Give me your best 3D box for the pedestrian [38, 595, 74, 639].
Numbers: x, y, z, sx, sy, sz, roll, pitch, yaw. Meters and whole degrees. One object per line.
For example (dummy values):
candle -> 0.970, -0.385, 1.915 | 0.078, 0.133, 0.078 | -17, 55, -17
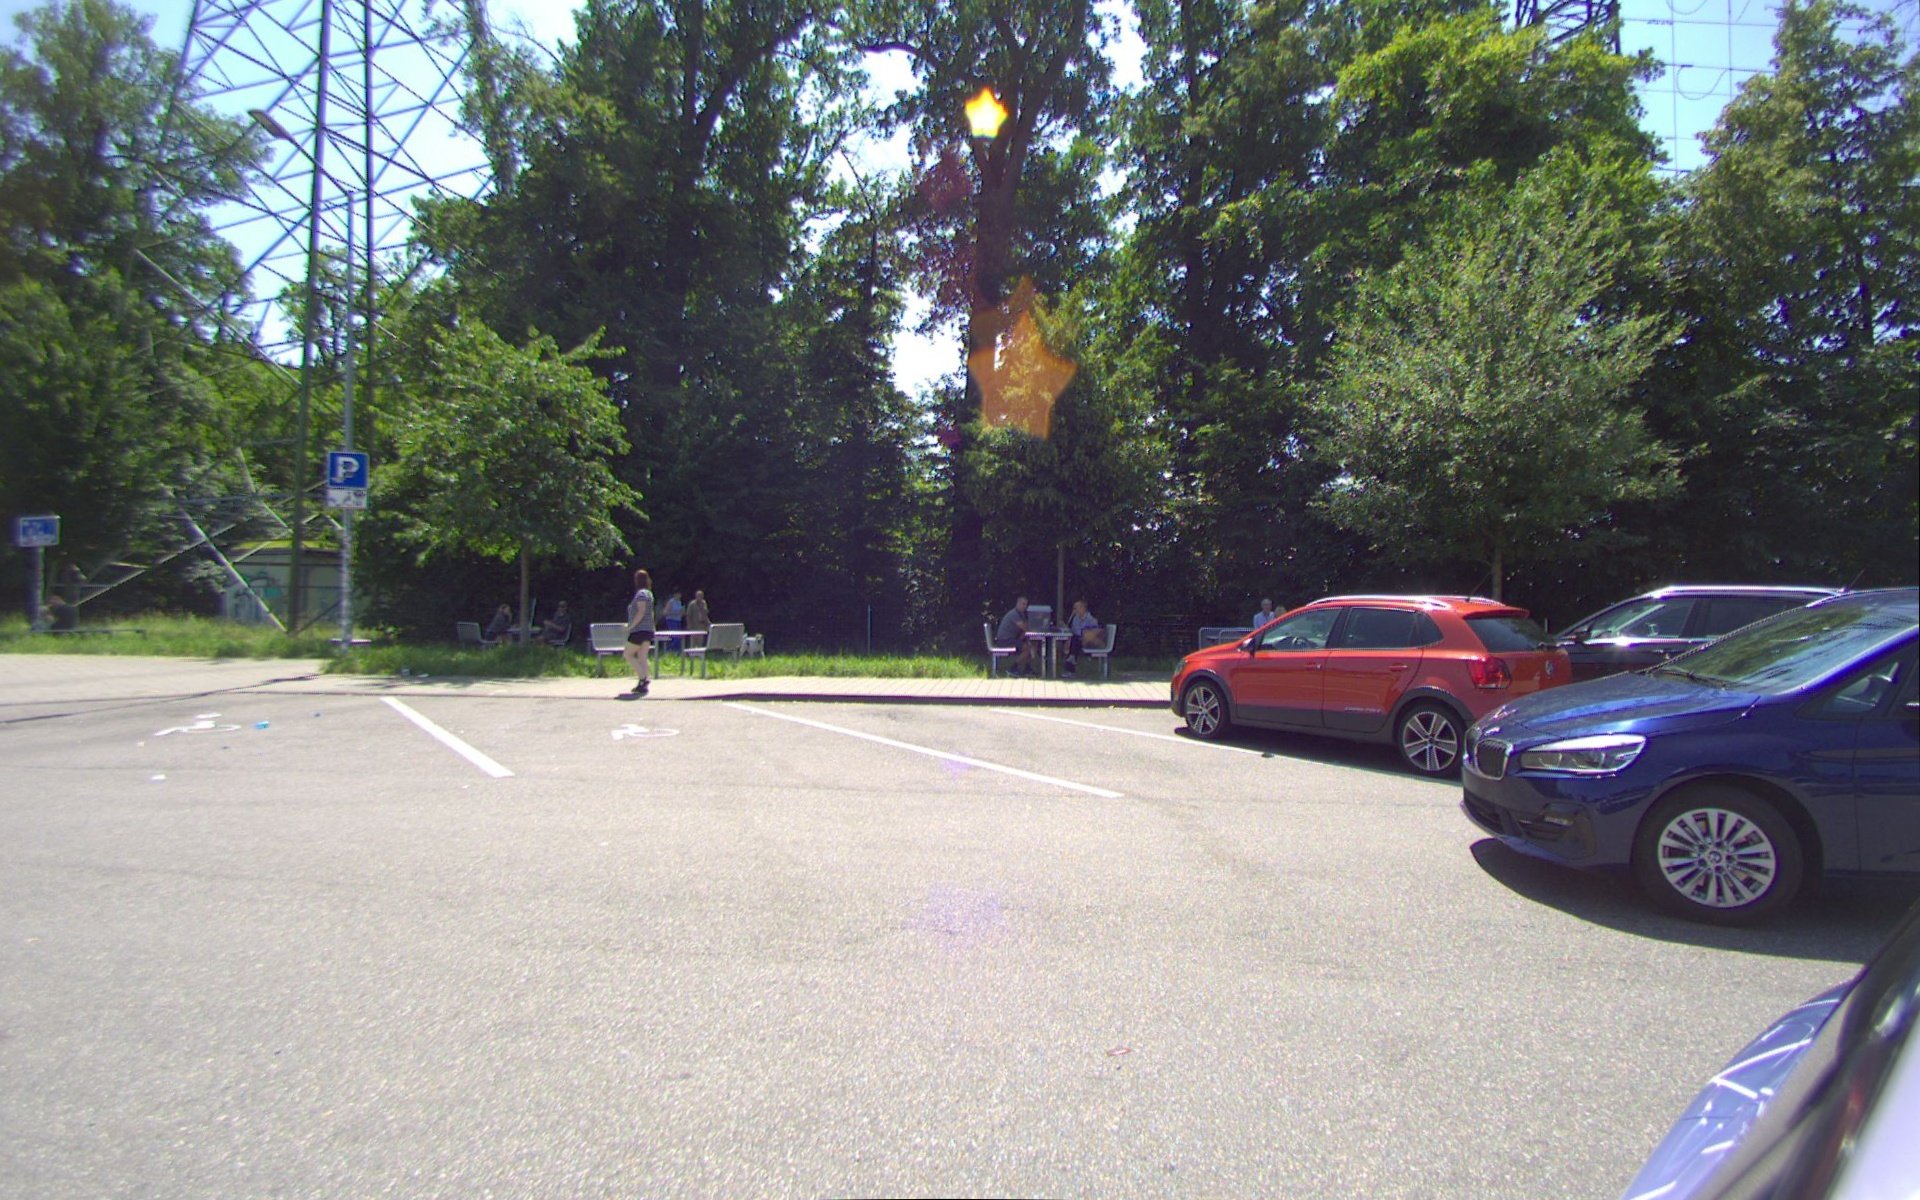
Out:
pedestrian -> -20.946, 0.388, 23.453 | 0.452, 0.987, 0.447 | 0, 0, -2

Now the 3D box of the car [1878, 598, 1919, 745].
car -> 10.903, 0.698, 9.008 | 1.620, 1.420, 3.826 | 0, 0, -37

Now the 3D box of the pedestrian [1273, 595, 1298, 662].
pedestrian -> 5.777, 0.498, 17.947 | 0.350, 1.180, 0.384 | 0, 0, 8

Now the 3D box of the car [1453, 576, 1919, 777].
car -> 7.103, 0.587, 9.862 | 1.620, 1.575, 3.826 | 0, 0, -37

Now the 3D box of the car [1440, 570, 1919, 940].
car -> 4.917, 0.655, 5.003 | 4.279, 1.572, 1.741 | 1, 1, 13

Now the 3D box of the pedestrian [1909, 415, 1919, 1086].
pedestrian -> 3.055, 0.450, 2.441 | 0.804, 1.974, 0.914 | 0, 0, 21

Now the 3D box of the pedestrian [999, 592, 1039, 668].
pedestrian -> 0.996, 0.490, 17.109 | 0.586, 1.261, 0.445 | 0, 0, 16

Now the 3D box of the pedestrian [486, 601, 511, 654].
pedestrian -> -10.428, 0.606, 22.854 | 0.452, 1.182, 0.447 | 0, 0, -34

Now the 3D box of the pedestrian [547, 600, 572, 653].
pedestrian -> -9.339, 0.607, 23.595 | 0.452, 1.209, 0.447 | 0, 0, -34

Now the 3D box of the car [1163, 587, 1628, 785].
car -> 3.887, 0.629, 9.645 | 1.619, 1.487, 3.830 | 0, 0, -33

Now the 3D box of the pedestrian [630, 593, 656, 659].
pedestrian -> -6.680, 0.538, 21.343 | 0.438, 1.363, 0.462 | 0, 0, -5

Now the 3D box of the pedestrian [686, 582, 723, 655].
pedestrian -> -5.821, 0.404, 23.048 | 0.636, 1.625, 0.571 | 0, 0, -42

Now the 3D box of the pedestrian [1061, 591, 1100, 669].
pedestrian -> 2.009, 0.488, 16.853 | 0.586, 1.261, 0.498 | 0, 0, 16

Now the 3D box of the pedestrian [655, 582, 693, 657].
pedestrian -> -6.336, 0.413, 22.407 | 0.636, 1.625, 0.571 | 0, 0, -42

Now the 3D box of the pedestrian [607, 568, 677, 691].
pedestrian -> -4.416, 0.394, 14.083 | 0.703, 1.670, 0.686 | 0, 0, 9

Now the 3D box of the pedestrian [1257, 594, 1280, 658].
pedestrian -> 5.825, 0.486, 19.123 | 0.350, 1.180, 0.384 | 0, 0, 8
